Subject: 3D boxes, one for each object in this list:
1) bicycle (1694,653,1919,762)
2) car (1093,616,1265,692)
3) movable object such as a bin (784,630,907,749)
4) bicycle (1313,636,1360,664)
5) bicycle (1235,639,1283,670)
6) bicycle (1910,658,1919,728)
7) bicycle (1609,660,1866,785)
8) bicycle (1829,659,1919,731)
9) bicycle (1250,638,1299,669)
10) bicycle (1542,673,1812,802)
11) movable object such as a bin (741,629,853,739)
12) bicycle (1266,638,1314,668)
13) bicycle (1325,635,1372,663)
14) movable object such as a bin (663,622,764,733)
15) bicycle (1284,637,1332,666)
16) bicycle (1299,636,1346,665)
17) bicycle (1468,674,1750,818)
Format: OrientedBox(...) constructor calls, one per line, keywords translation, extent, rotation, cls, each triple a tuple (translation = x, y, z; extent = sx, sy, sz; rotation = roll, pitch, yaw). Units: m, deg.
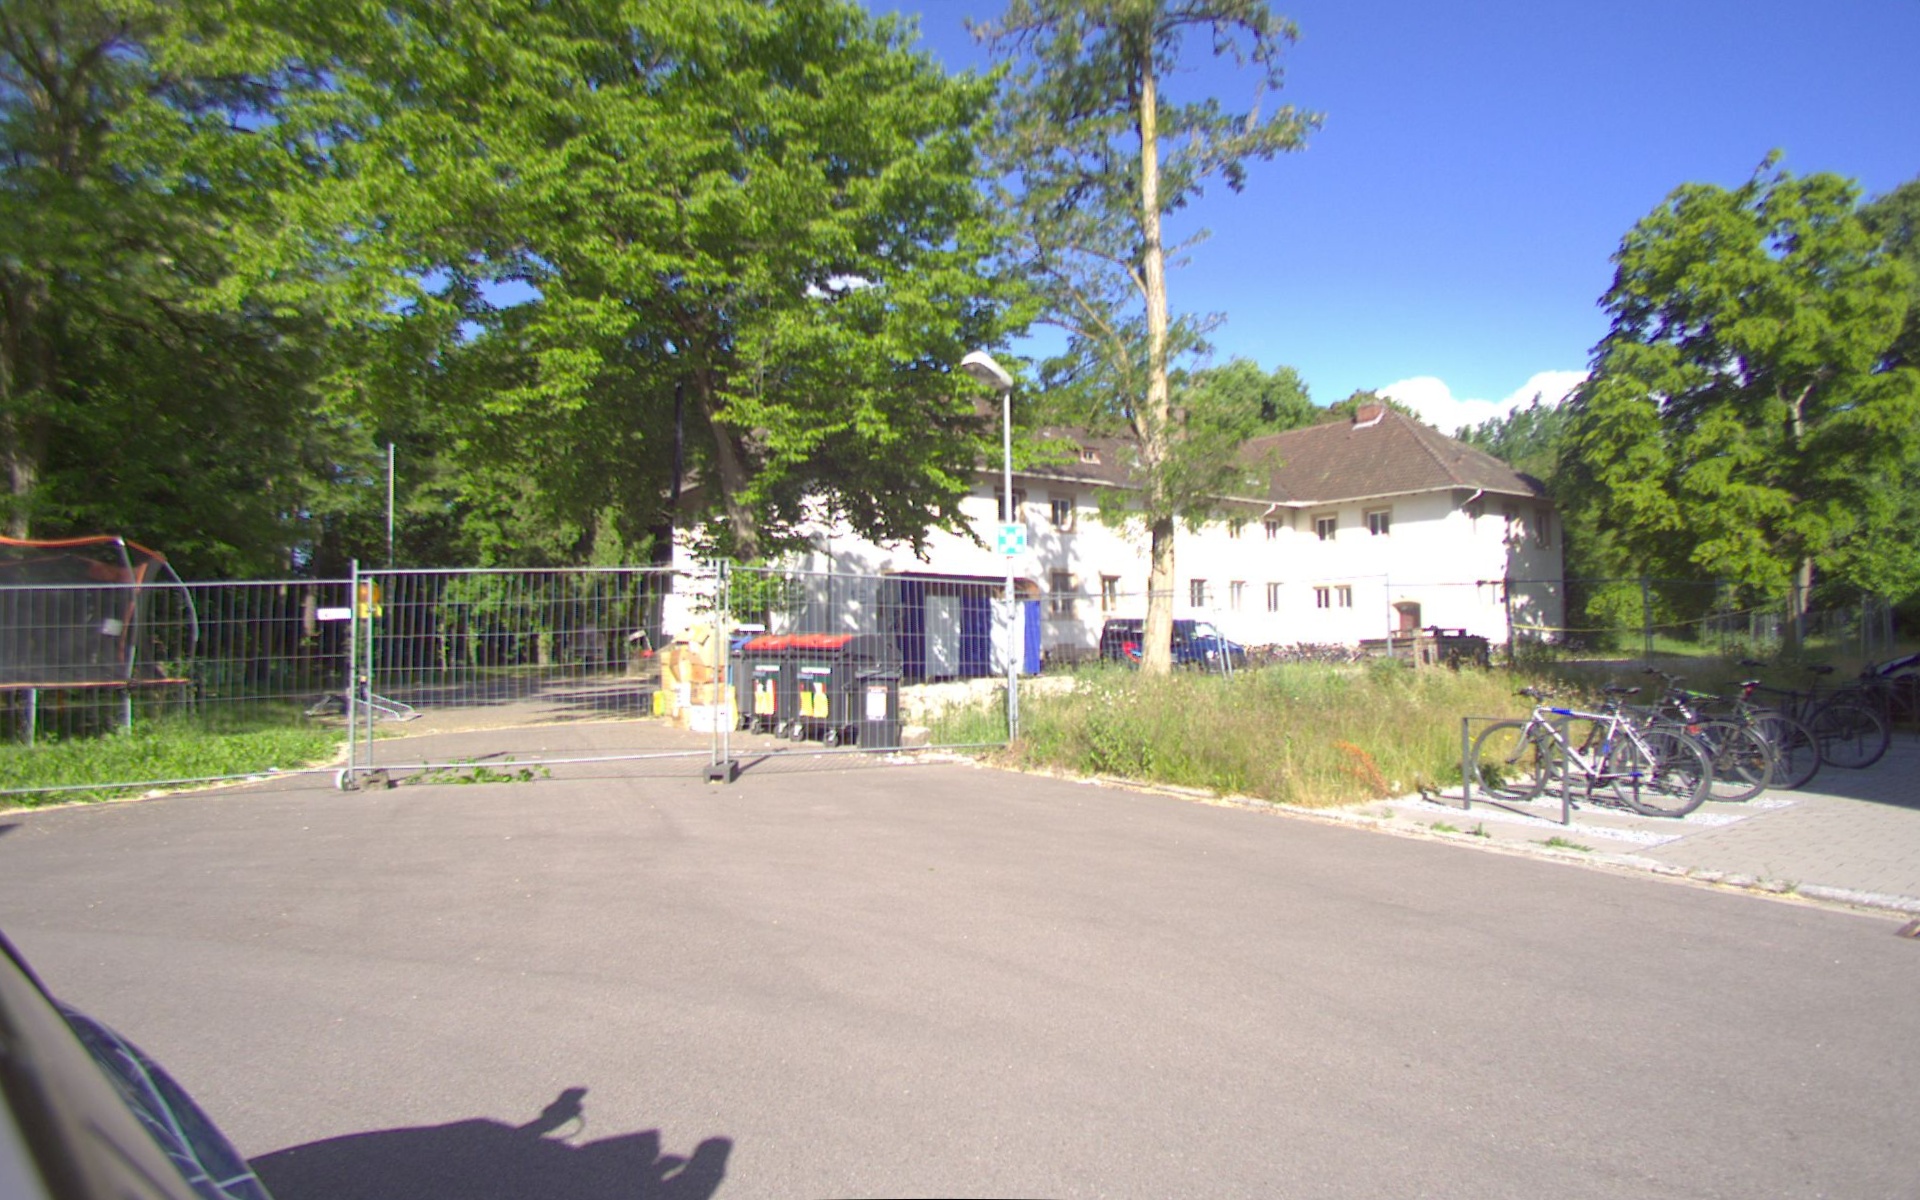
OrientedBox(translation=(9.335, 1.146, 11.220), extent=(0.474, 1.097, 1.838), rotation=(0, -2, -41), cls="bicycle")
OrientedBox(translation=(6.495, 1.535, 30.523), extent=(2.026, 2.027, 4.885), rotation=(-1, 0, -39), cls="car")
OrientedBox(translation=(-1.517, 1.134, 13.369), extent=(1.076, 1.443, 1.232), rotation=(-1, -1, -41), cls="movable object such as a bin")
OrientedBox(translation=(16.307, 2.146, 43.885), extent=(0.782, 1.141, 1.849), rotation=(-1, 0, -31), cls="bicycle")
OrientedBox(translation=(12.121, 2.198, 41.107), extent=(0.782, 1.141, 1.840), rotation=(-1, 0, -31), cls="bicycle")
OrientedBox(translation=(14.304, 1.292, 13.845), extent=(0.474, 0.967, 1.838), rotation=(0, -2, -41), cls="bicycle")
OrientedBox(translation=(7.298, 1.111, 9.589), extent=(0.474, 1.045, 1.834), rotation=(0, -2, -41), cls="bicycle")
OrientedBox(translation=(13.382, 1.321, 14.134), extent=(0.474, 0.967, 1.817), rotation=(0, -2, -41), cls="bicycle")
OrientedBox(translation=(12.934, 2.188, 41.664), extent=(0.783, 1.141, 1.827), rotation=(-1, 0, -31), cls="bicycle")
OrientedBox(translation=(6.201, 1.149, 8.853), extent=(0.474, 0.967, 1.837), rotation=(0, -2, -41), cls="bicycle")
OrientedBox(translation=(-2.331, 1.152, 14.430), extent=(1.076, 1.450, 1.232), rotation=(-1, -1, -41), cls="movable object such as a bin")
OrientedBox(translation=(13.732, 2.178, 42.164), extent=(0.746, 1.141, 1.835), rotation=(-1, 0, -31), cls="bicycle")
OrientedBox(translation=(17.043, 2.136, 44.408), extent=(0.782, 1.141, 1.847), rotation=(-1, 0, -31), cls="bicycle")
OrientedBox(translation=(-3.824, 1.159, 15.698), extent=(1.076, 1.609, 1.232), rotation=(1, -1, -41), cls="movable object such as a bin")
OrientedBox(translation=(14.717, 2.166, 42.809), extent=(0.782, 1.141, 1.849), rotation=(-1, 0, -31), cls="bicycle")
OrientedBox(translation=(15.529, 2.155, 43.395), extent=(0.782, 1.141, 1.849), rotation=(-1, 0, -31), cls="bicycle")
OrientedBox(translation=(5.191, 1.125, 8.214), extent=(0.474, 0.995, 1.838), rotation=(0, -2, -41), cls="bicycle")
